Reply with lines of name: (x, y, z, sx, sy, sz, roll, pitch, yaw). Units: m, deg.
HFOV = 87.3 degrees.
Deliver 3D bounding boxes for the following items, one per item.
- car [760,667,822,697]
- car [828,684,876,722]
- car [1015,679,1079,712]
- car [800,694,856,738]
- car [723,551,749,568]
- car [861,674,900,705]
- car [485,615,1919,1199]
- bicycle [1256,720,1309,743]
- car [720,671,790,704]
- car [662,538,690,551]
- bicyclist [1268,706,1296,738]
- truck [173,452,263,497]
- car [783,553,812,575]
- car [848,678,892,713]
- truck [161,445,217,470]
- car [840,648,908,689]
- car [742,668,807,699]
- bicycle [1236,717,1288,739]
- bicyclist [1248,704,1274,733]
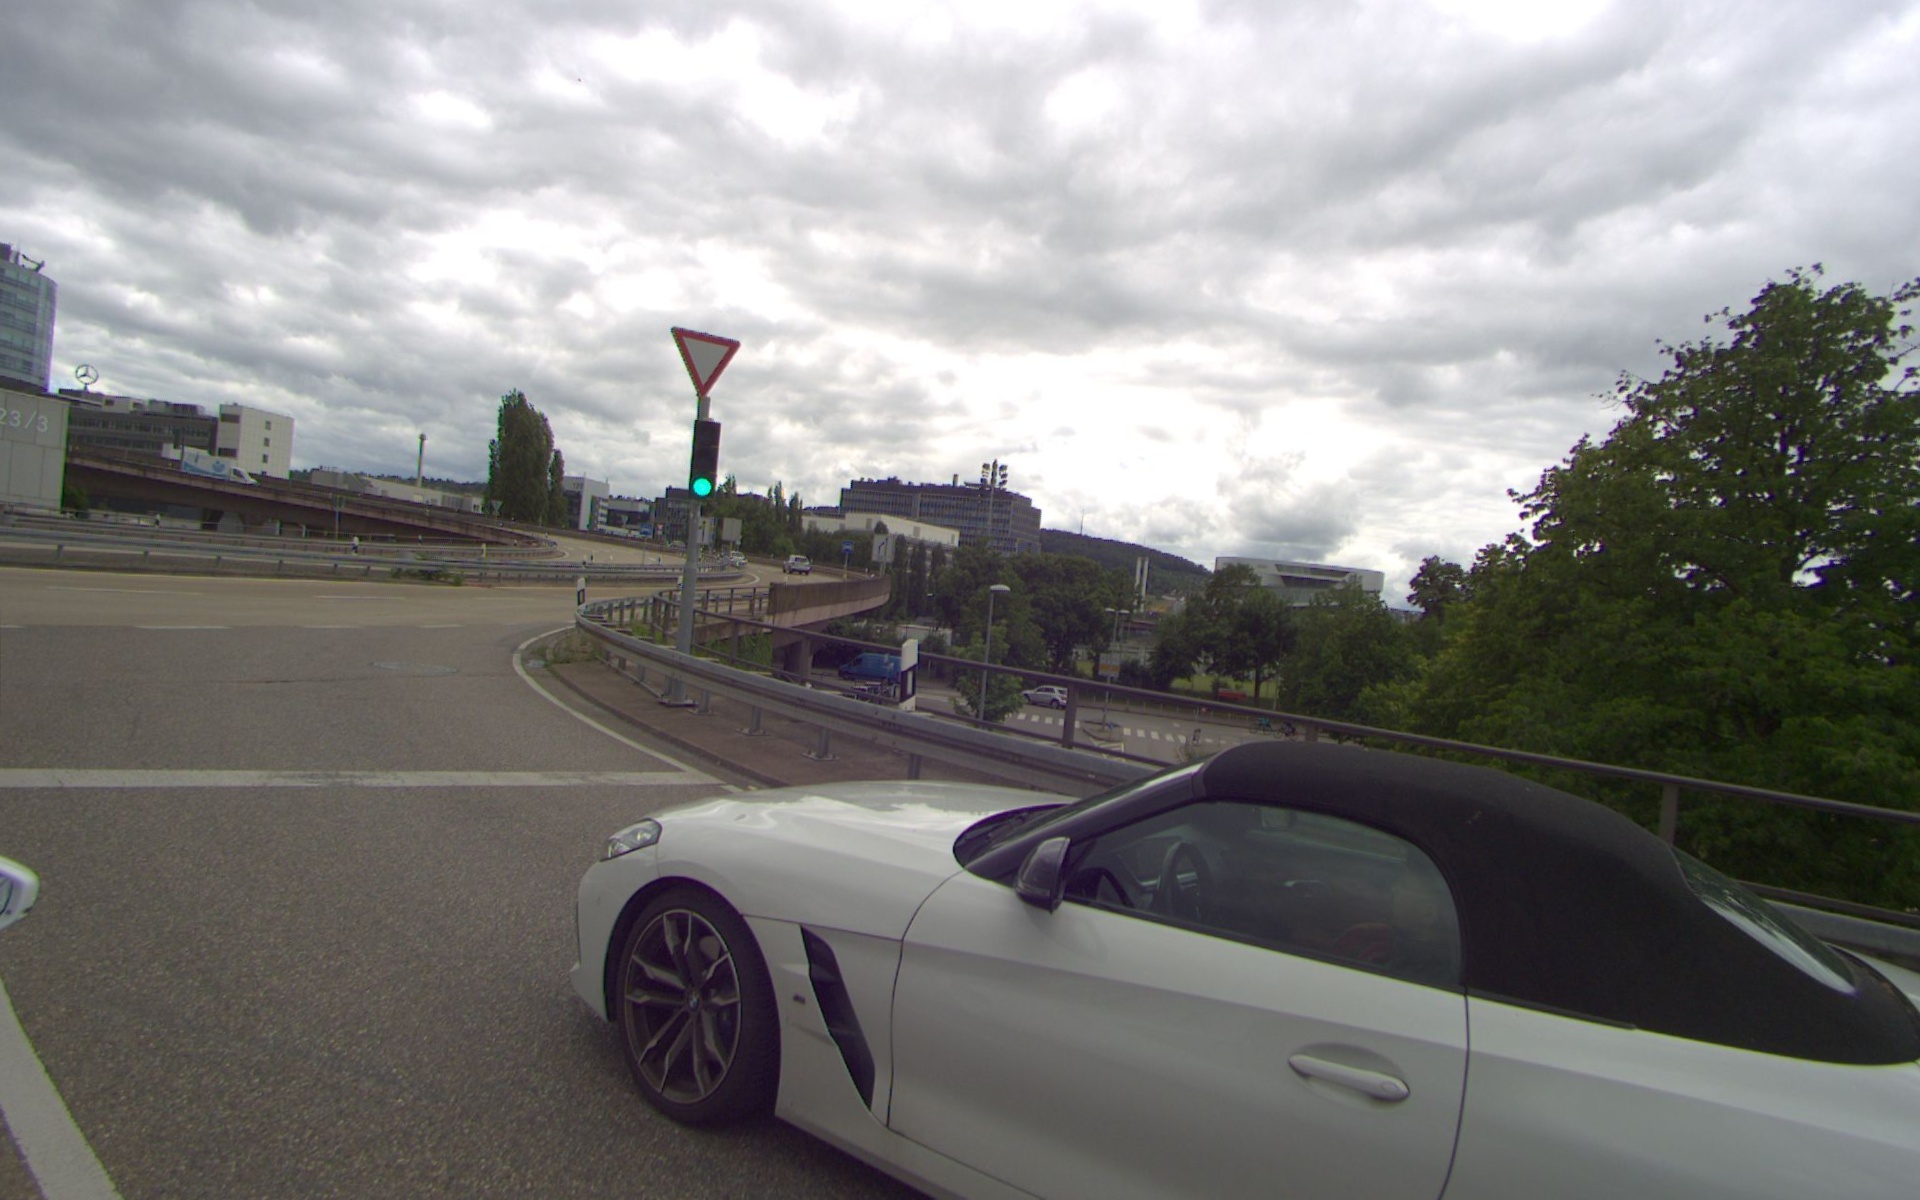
car: (-11.579, 5.611, 69.057, 3.792, 1.371, 1.826, 8, 1, 1)
car: (-6.130, 5.879, 57.705, 1.792, 1.553, 4.000, 7, 0, 6)
car: (7.306, 8.014, 84.399, 4.785, 1.883, 2.012, 9, -2, 36)
car: (-6.619, 5.813, 50.824, 1.792, 1.553, 4.000, 7, 0, 6)
car: (-22.080, -3.997, 99.099, 1.707, 1.418, 4.045, 7, 0, -22)
car: (-5.395, 6.061, 68.579, 1.792, 1.553, 4.000, 7, 0, 6)
car: (0.738, 0.988, 2.932, 4.194, 1.306, 1.808, 6, -2, 33)
bicycle: (25.596, 10.397, 79.820, 3.784, 1.189, 1.093, 10, -5, -1)
car: (-12.552, 5.389, 61.815, 3.792, 1.371, 1.826, 8, 1, 1)
car: (-36.358, -7.166, 128.807, 1.716, 1.480, 4.197, 4, 0, -41)
bicyclist: (25.544, 9.709, 79.833, 1.553, 2.273, 1.093, 9, -5, 0)
truck: (-80.518, -13.556, 109.323, 7.259, 3.307, 2.317, 8, -1, -25)
car: (-15.016, -3.291, 92.696, 1.705, 1.758, 4.536, 7, 0, -19)
car: (-5.611, 5.958, 63.130, 1.792, 1.553, 4.195, 7, 0, 6)
truck: (-106.089, -19.531, 138.408, 1.966, 2.188, 5.636, 6, -2, 29)
car: (-7.553, 6.027, 88.885, 5.289, 2.618, 2.019, 10, -1, 11)
car: (-12.171, 5.496, 66.275, 3.792, 1.371, 1.826, 8, 1, 1)
bicycle: (24.439, 10.349, 81.472, 3.784, 1.189, 1.093, 9, -5, 0)
bicyclist: (24.369, 9.591, 81.497, 1.538, 2.114, 1.093, 9, -5, 0)
